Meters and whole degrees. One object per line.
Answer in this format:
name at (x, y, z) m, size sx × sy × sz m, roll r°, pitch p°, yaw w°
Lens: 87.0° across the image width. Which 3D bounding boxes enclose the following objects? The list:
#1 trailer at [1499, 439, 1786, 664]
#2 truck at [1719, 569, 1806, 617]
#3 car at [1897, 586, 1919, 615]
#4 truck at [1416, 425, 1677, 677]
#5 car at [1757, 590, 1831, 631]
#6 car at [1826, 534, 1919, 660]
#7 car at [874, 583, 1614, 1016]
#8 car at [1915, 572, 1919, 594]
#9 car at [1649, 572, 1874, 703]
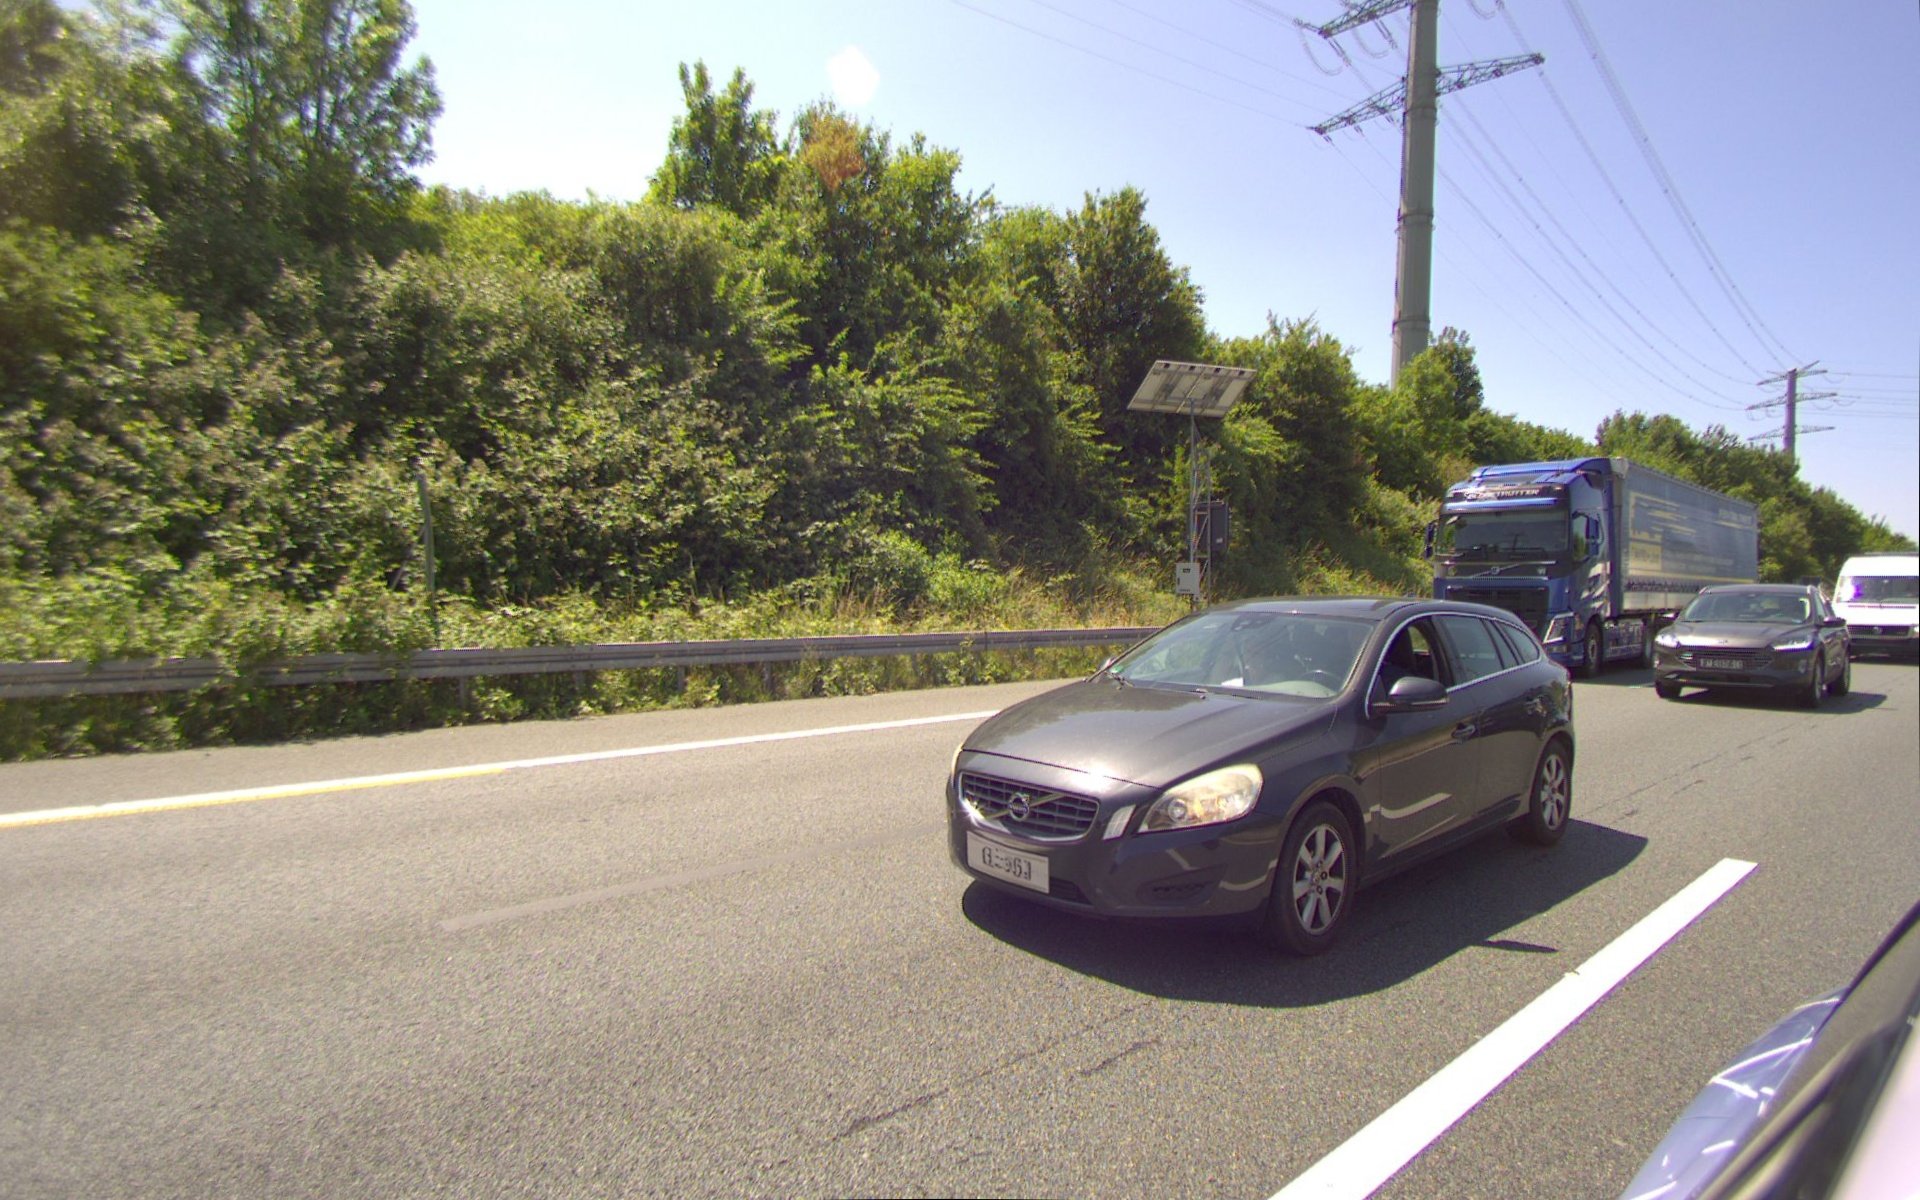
trailer at (17.120, -1.000, 24.714) m, size 12.657 × 4.317 × 2.771 m, roll -1°, pitch 0°, yaw -42°
truck at (38.369, -0.353, 48.322) m, size 5.629 × 2.195 × 2.251 m, roll -1°, pitch 0°, yaw -41°
car at (51.636, 0.014, 54.196) m, size 3.806 × 1.538 × 1.719 m, roll -1°, pitch 0°, yaw -41°
truck at (11.526, -0.847, 19.710) m, size 5.539 × 4.197 × 2.789 m, roll -1°, pitch 0°, yaw -41°
car at (33.642, 0.402, 40.788) m, size 3.806 × 1.538 × 1.719 m, roll -1°, pitch 0°, yaw -41°
car at (22.962, -0.101, 24.593) m, size 6.590 × 2.753 × 2.040 m, roll -1°, pitch 0°, yaw -42°
car at (1.843, 0.640, 5.529) m, size 4.432 × 1.437 × 1.797 m, roll -1°, pitch 0°, yaw -42°
car at (68.077, -1.205, 70.627) m, size 3.806 × 1.538 × 1.719 m, roll -1°, pitch 0°, yaw -41°
car at (11.761, 0.447, 14.758) m, size 4.147 × 1.631 × 1.891 m, roll -1°, pitch 0°, yaw -42°
